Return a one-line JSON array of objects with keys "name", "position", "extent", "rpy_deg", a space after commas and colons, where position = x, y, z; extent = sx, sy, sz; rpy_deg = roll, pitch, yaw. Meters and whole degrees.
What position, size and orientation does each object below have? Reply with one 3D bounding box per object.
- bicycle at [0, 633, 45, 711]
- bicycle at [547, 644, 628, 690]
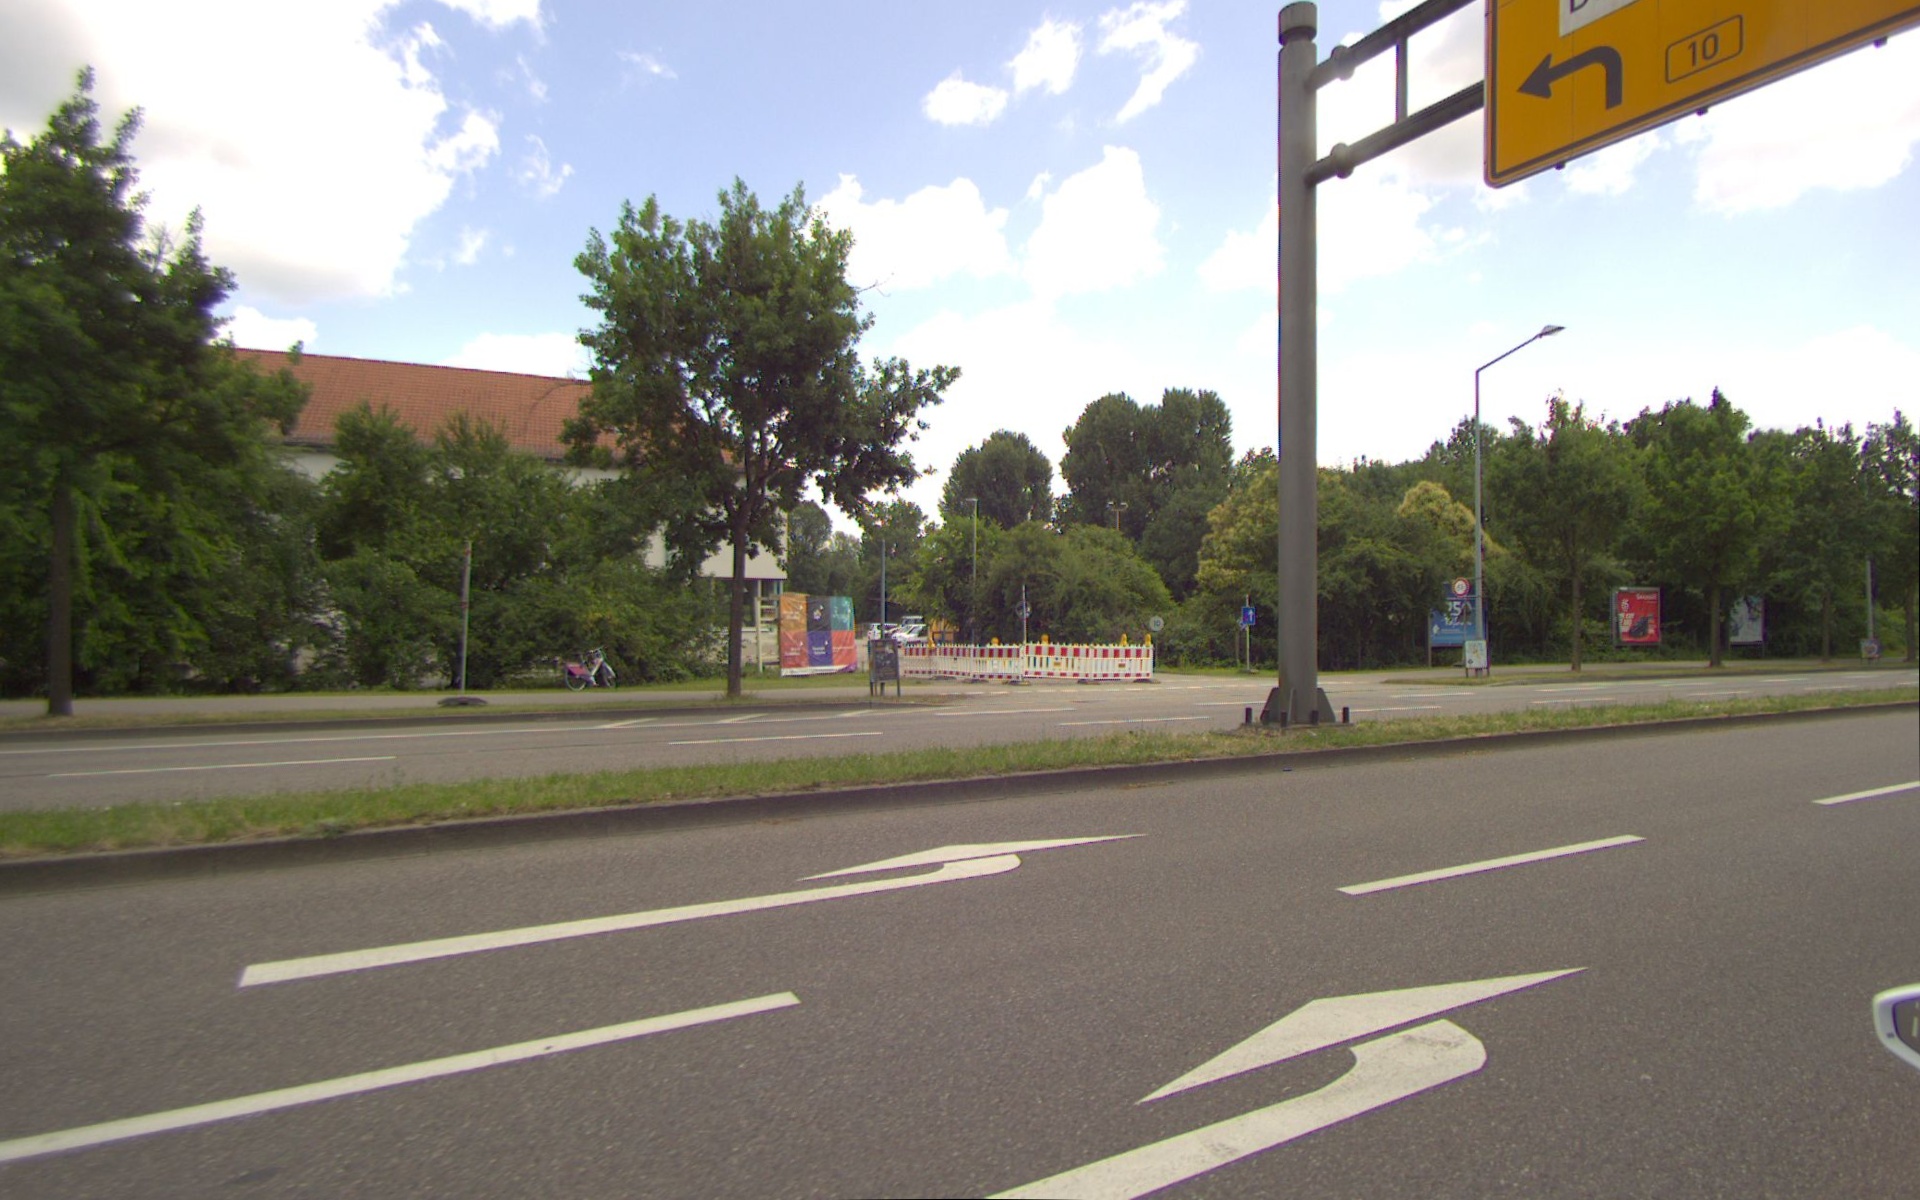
[{"name": "bicycle", "position": [-15.396, 1.092, 15.165], "extent": [2.235, 1.177, 0.745], "rpy_deg": [1, -2, -34]}, {"name": "bicycle", "position": [-8.754, 1.551, 23.725], "extent": [0.651, 1.028, 2.151], "rpy_deg": [0, -2, 15]}]
